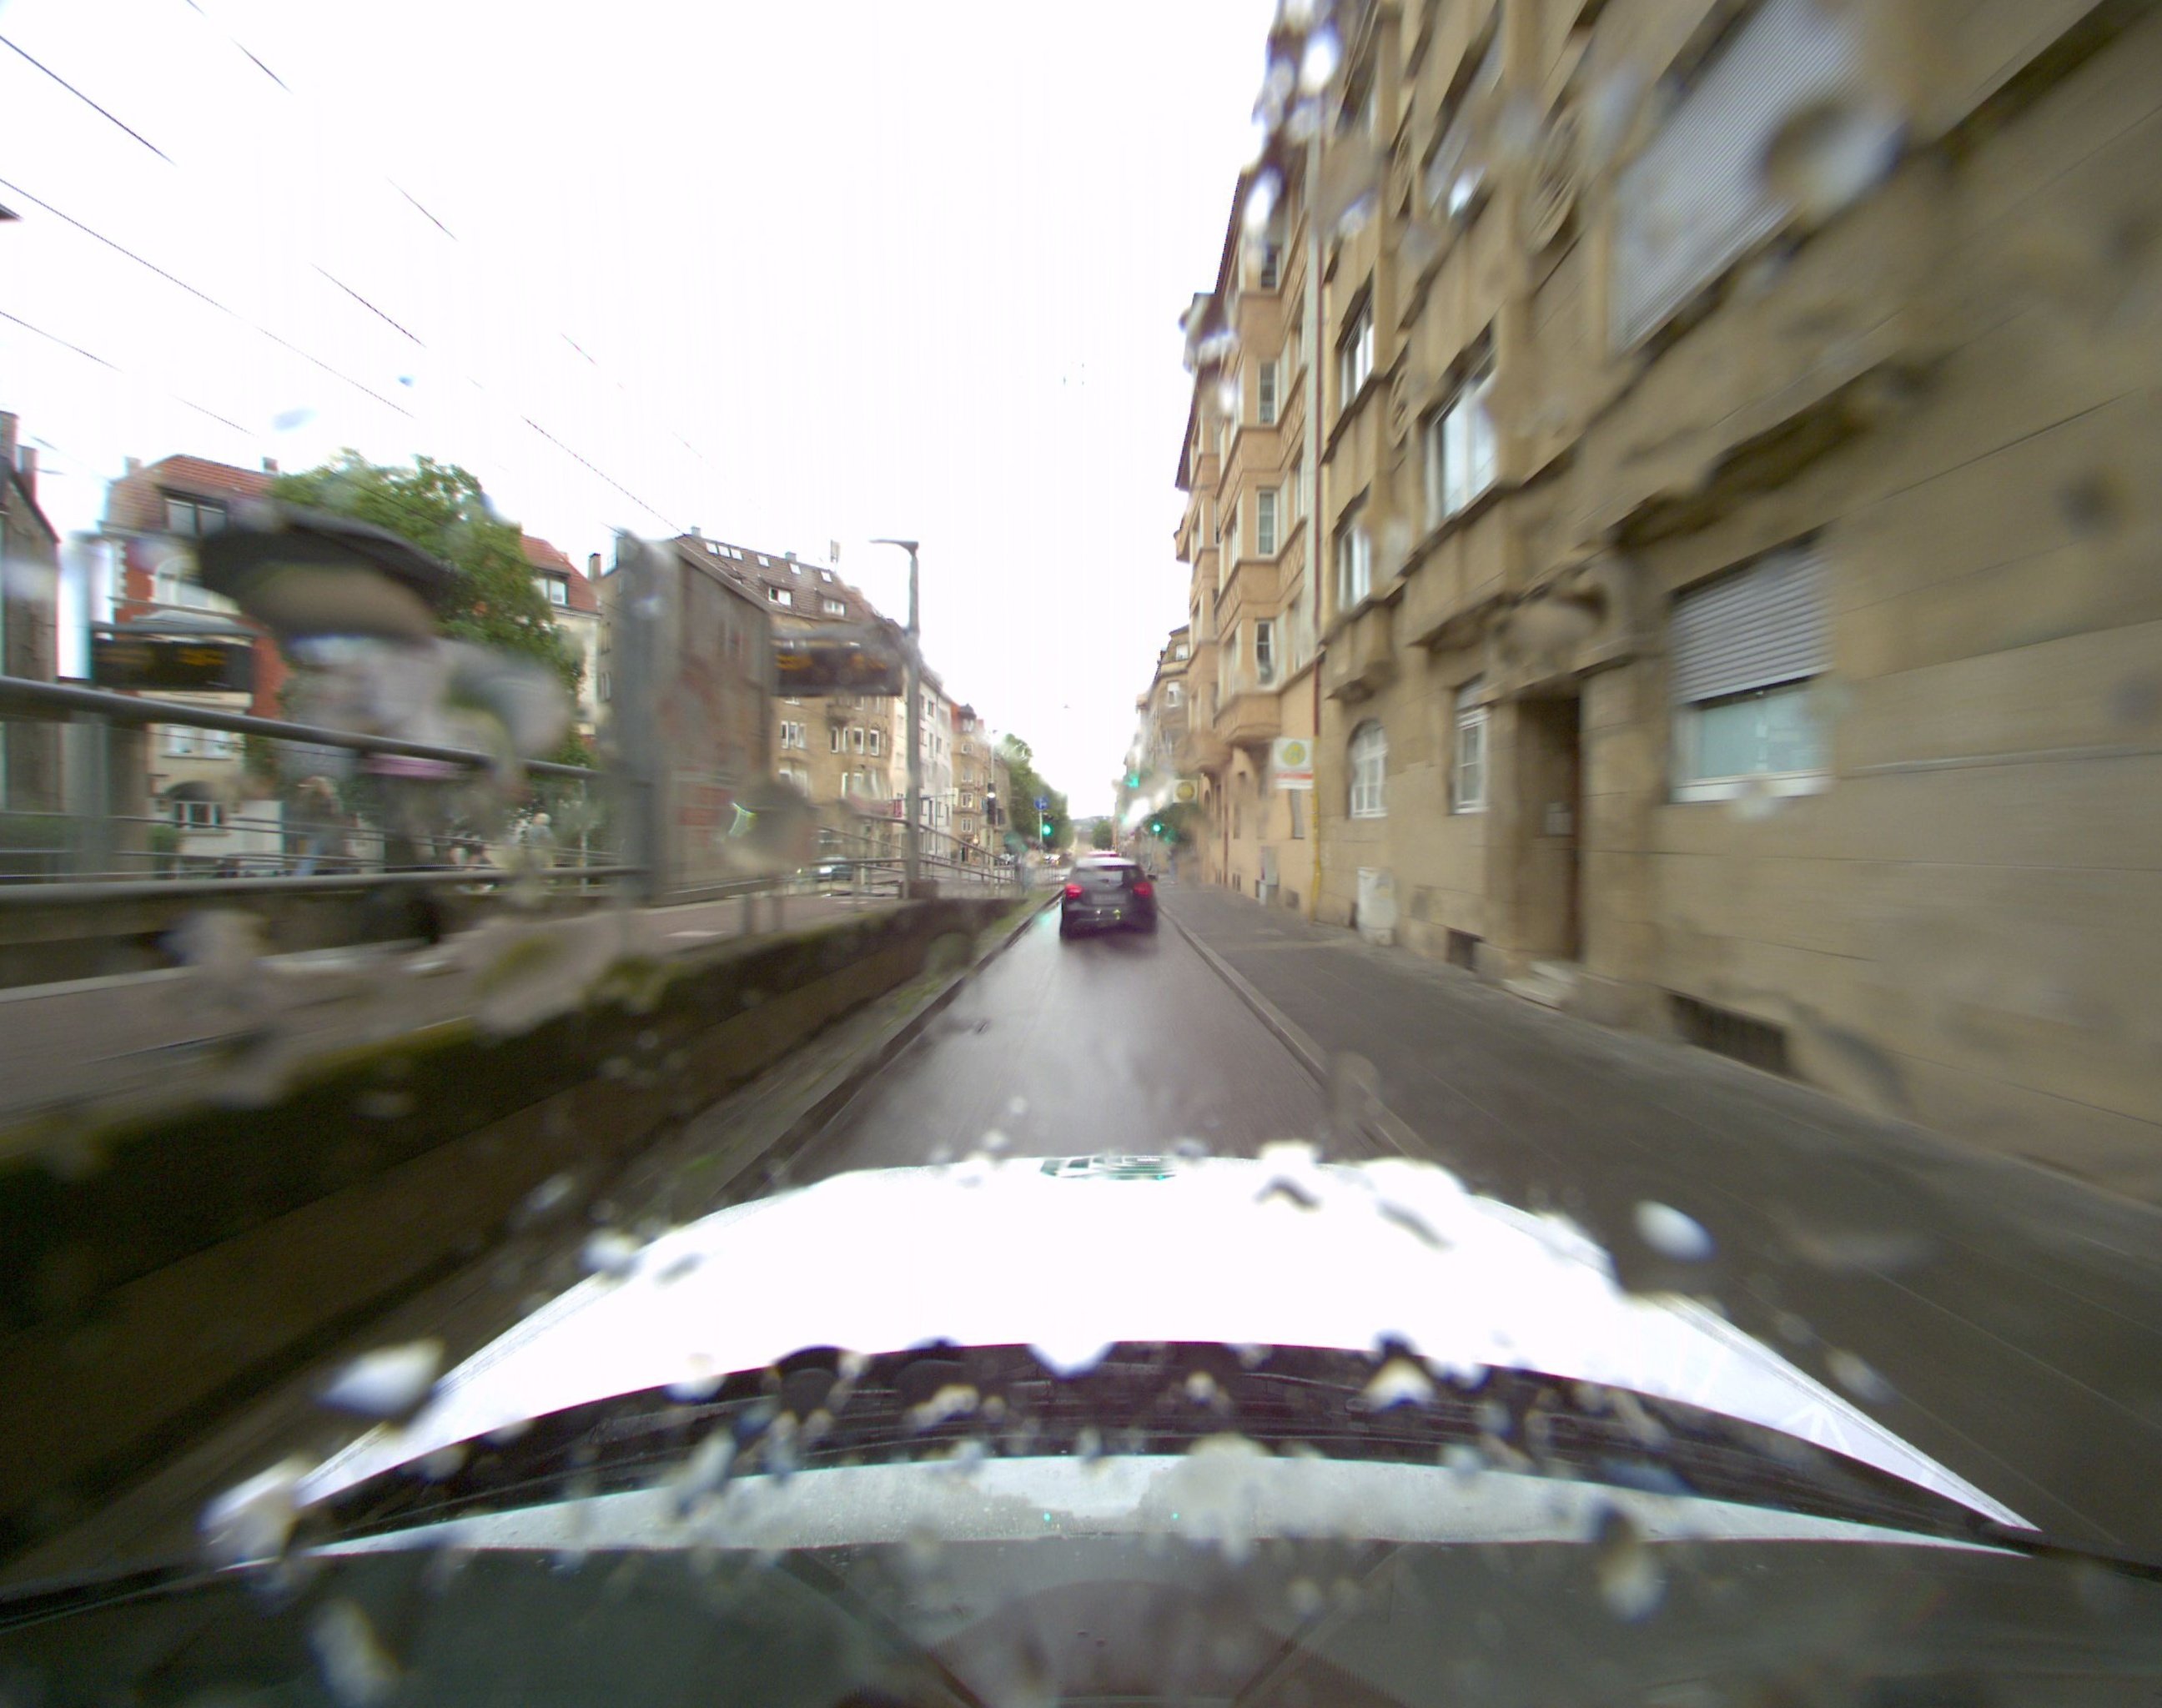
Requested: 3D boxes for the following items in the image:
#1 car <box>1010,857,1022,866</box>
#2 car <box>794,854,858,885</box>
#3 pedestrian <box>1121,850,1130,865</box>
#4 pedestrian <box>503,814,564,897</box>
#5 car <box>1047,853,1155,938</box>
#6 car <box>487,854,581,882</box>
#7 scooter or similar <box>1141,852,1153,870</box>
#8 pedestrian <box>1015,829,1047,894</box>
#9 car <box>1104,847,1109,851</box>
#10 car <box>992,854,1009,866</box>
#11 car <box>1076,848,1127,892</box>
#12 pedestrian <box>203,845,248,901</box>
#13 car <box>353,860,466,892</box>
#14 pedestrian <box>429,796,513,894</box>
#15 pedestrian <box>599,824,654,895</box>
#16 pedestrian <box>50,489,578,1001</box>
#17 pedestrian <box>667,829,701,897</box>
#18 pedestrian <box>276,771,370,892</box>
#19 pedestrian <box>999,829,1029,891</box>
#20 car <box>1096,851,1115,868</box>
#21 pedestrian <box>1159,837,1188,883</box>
[{"bbox_3d":[-10.909,1.241,137.180,1.562,1.413,3.484,-1,0,3],"label":"car"},{"bbox_3d":[-13.122,0.757,42.188,1.637,1.497,4.766,0,0,2],"label":"car"},{"bbox_3d":[5.388,0.366,98.083,0.942,1.769,1.015,-1,0,-1],"label":"pedestrian"},{"bbox_3d":[-11.031,0.035,16.425,0.741,1.647,0.641,0,-2,1],"label":"pedestrian"},{"bbox_3d":[0.459,0.709,15.979,1.858,1.452,4.004,0,0,3],"label":"car"},{"bbox_3d":[-30.048,0.754,44.821,1.720,1.403,4.024,-2,0,43],"label":"car"},{"bbox_3d":[4.723,0.496,57.935,0.636,1.210,1.551,-1,0,-3],"label":"scooter or similar"},{"bbox_3d":[-1.571,0.236,25.964,0.922,2.013,0.948,0,0,1],"label":"pedestrian"},{"bbox_3d":[7.205,-1.399,230.259,1.607,1.317,4.001,1,0,2],"label":"car"},{"bbox_3d":[-11.513,0.859,116.718,1.715,1.541,3.937,-1,0,3],"label":"car"},{"bbox_3d":[0.739,0.515,28.365,1.643,1.452,4.002,0,0,2],"label":"car"},{"bbox_3d":[-26.188,0.572,24.937,0.602,1.675,0.688,-2,0,-1],"label":"pedestrian"},{"bbox_3d":[-33.649,1.070,40.893,1.720,1.403,4.193,-2,0,43],"label":"car"},{"bbox_3d":[-10.871,-0.146,14.549,0.741,1.696,0.883,0,-3,1],"label":"pedestrian"},{"bbox_3d":[-10.461,0.138,18.774,0.690,1.583,0.956,0,-2,1],"label":"pedestrian"},{"bbox_3d":[-3.005,-0.381,3.380,1.110,1.774,1.112,0,0,1],"label":"pedestrian"},{"bbox_3d":[-10.904,0.237,22.385,0.509,1.818,0.800,0,0,2],"label":"pedestrian"},{"bbox_3d":[-10.959,-0.311,11.792,0.663,1.699,0.688,0,-2,-2],"label":"pedestrian"},{"bbox_3d":[-2.225,0.184,27.057,0.893,2.013,0.948,0,0,1],"label":"pedestrian"},{"bbox_3d":[2.355,0.500,78.541,1.759,1.559,4.747,-1,0,2],"label":"car"},{"bbox_3d":[3.862,0.239,34.003,0.958,1.840,0.906,-4,0,13],"label":"pedestrian"}]
